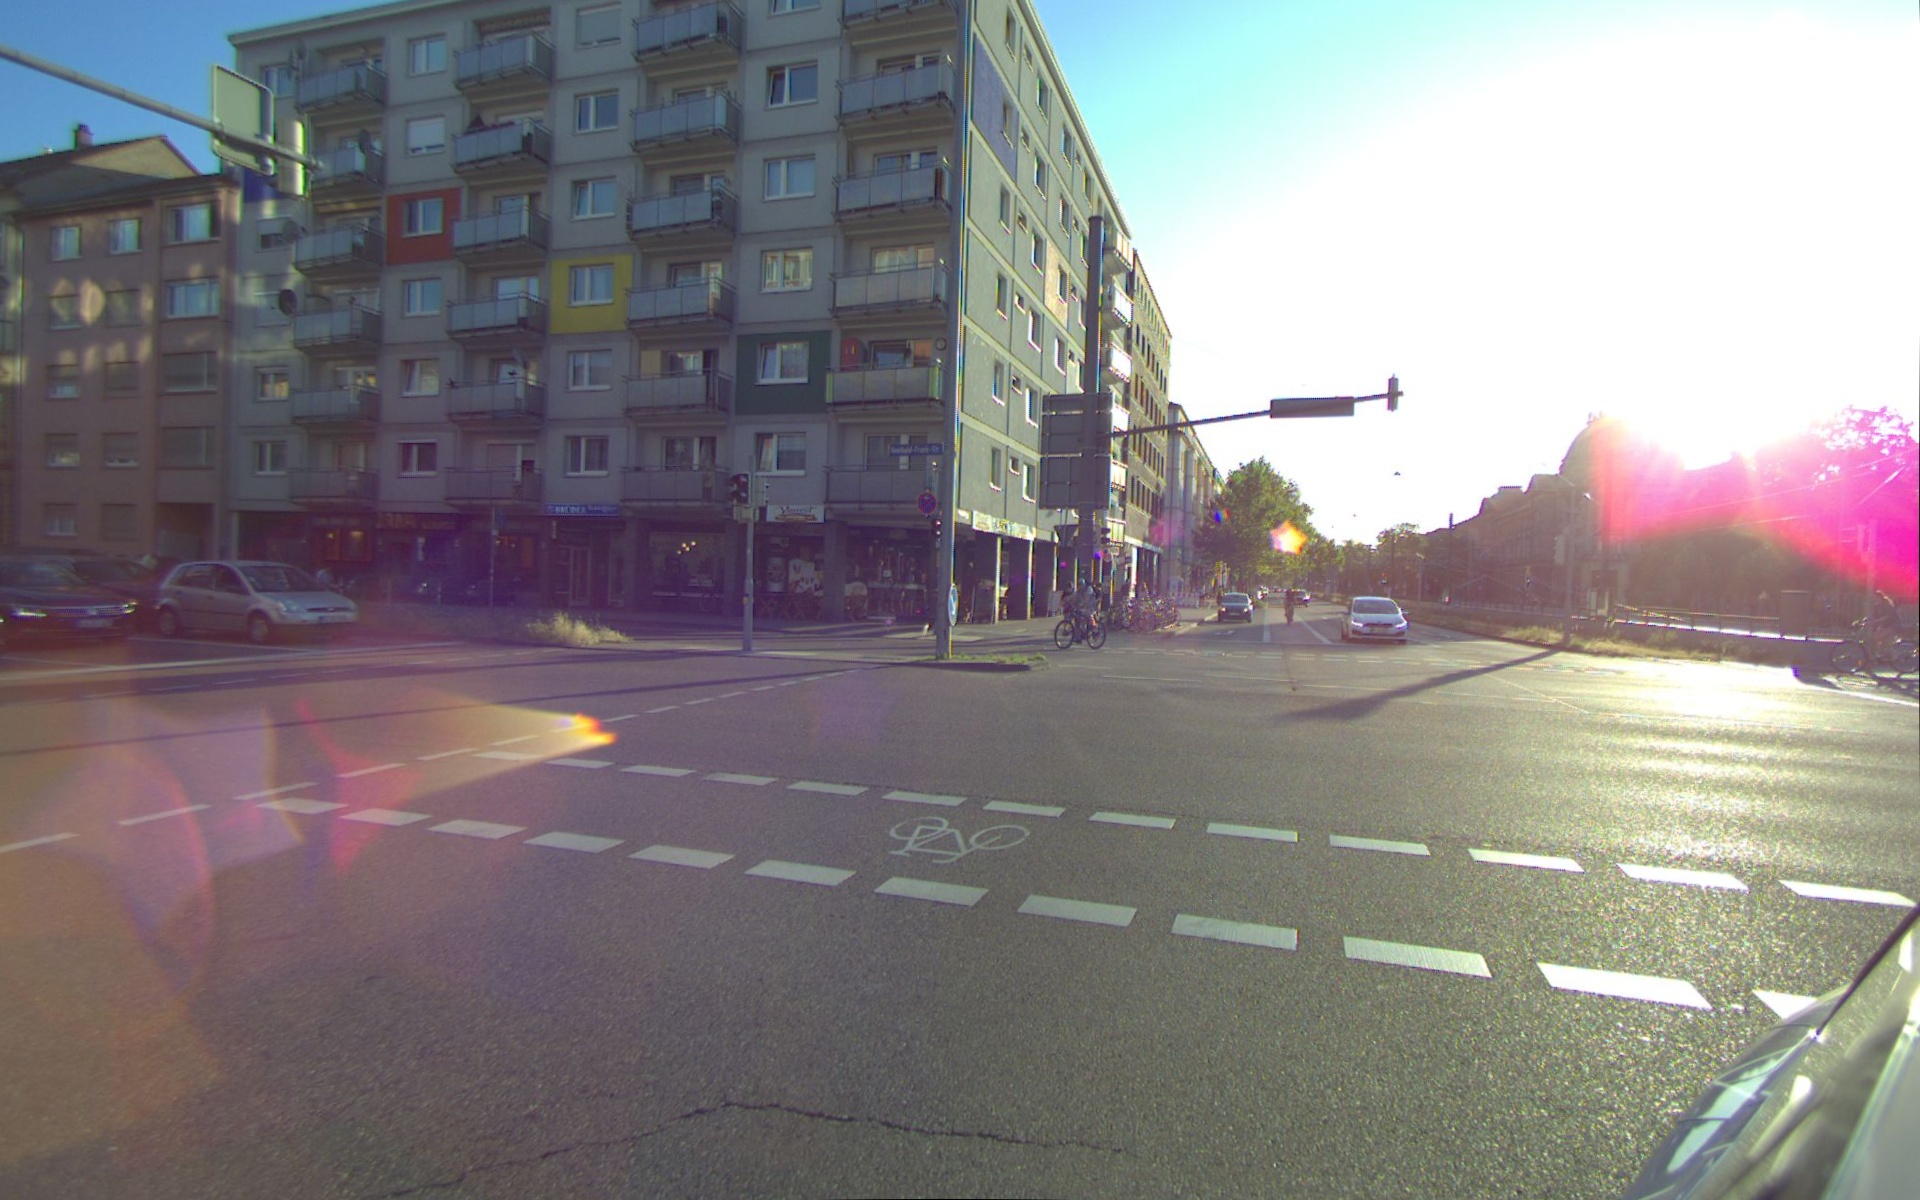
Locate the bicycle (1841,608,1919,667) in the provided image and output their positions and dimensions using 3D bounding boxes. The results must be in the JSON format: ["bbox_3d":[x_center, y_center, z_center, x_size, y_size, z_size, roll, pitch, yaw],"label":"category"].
[{"bbox_3d":[19.967,0.800,21.476,1.937,1.197,0.489,1,0,7],"label":"bicycle"}]

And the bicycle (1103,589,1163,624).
[{"bbox_3d":[5.853,0.212,34.303,1.935,1.134,0.455,1,0,22],"label":"bicycle"}]

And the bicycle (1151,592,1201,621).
[{"bbox_3d":[8.703,0.249,40.809,1.935,1.134,0.455,1,0,22],"label":"bicycle"}]

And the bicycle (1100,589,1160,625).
[{"bbox_3d":[5.671,0.215,33.805,1.935,1.134,0.455,1,0,22],"label":"bicycle"}]

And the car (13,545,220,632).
[{"bbox_3d":[-17.293,-0.269,20.724,4.138,1.541,1.645,3,1,25],"label":"car"}]

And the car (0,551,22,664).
[{"bbox_3d":[-14.565,0.064,13.252,4.146,1.443,1.916,2,3,25],"label":"car"}]

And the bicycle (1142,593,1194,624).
[{"bbox_3d":[8.049,0.313,39.174,1.935,1.134,0.455,1,0,22],"label":"bicycle"}]

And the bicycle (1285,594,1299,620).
[{"bbox_3d":[15.718,0.313,47.934,0.568,1.215,2.193,1,1,18],"label":"bicycle"}]

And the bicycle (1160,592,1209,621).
[{"bbox_3d":[9.439,0.261,42.592,1.935,1.134,0.455,1,0,22],"label":"bicycle"}]

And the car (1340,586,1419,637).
[{"bbox_3d":[13.544,0.337,32.884,1.929,1.512,3.939,1,1,16],"label":"car"}]

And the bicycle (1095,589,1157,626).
[{"bbox_3d":[5.464,0.236,33.297,1.935,1.134,0.455,1,0,22],"label":"bicycle"}]

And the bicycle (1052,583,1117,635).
[{"bbox_3d":[2.984,0.205,24.109,0.489,1.197,1.941,1,1,43],"label":"bicycle"}]

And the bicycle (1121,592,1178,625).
[{"bbox_3d":[6.754,0.286,36.047,1.935,1.134,0.455,1,0,22],"label":"bicycle"}]

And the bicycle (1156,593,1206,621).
[{"bbox_3d":[9.110,0.278,41.723,1.935,1.134,0.455,1,0,22],"label":"bicycle"}]

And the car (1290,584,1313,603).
[{"bbox_3d":[33.053,-0.662,97.914,1.975,1.772,3.973,0,0,21],"label":"car"}]

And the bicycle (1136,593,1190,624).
[{"bbox_3d":[7.705,0.320,38.475,1.935,1.134,0.455,1,0,22],"label":"bicycle"}]

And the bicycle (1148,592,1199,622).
[{"bbox_3d":[8.511,0.261,40.284,1.935,1.134,0.455,1,0,22],"label":"bicycle"}]

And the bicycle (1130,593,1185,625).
[{"bbox_3d":[7.340,0.316,37.580,1.935,1.134,0.455,1,0,22],"label":"bicycle"}]

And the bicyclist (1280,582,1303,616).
[{"bbox_3d":[15.655,-0.051,47.802,0.984,1.557,0.917,1,0,19],"label":"bicyclist"}]

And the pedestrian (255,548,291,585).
[{"bbox_3d":[-25.138,-1.208,37.019,1.045,1.313,0.890,2,1,45],"label":"pedestrian"}]

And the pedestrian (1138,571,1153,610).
[{"bbox_3d":[9.947,-0.506,54.260,0.647,2.039,0.747,1,0,19],"label":"pedestrian"}]

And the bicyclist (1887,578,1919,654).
[{"bbox_3d":[20.356,0.340,21.410,0.721,1.587,0.821,1,0,7],"label":"bicyclist"}]

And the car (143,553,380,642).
[{"bbox_3d":[-13.043,-0.089,18.893,3.970,1.487,1.903,1,1,25],"label":"car"}]

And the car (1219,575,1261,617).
[{"bbox_3d":[14.323,-0.235,51.945,1.971,2.039,3.982,1,1,14],"label":"car"}]

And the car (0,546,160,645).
[{"bbox_3d":[-15.856,-0.125,17.124,4.198,1.487,1.983,1,1,25],"label":"car"}]

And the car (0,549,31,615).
[{"bbox_3d":[-24.148,-0.474,23.655,4.482,1.514,1.695,2,1,20],"label":"car"}]

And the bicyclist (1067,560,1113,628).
[{"bbox_3d":[3.115,-0.143,24.275,0.722,1.587,0.821,1,1,-44],"label":"bicyclist"}]

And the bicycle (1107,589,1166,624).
[{"bbox_3d":[6.062,0.216,34.801,1.935,1.134,0.455,1,0,22],"label":"bicycle"}]

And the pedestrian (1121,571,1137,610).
[{"bbox_3d":[9.122,-0.523,54.547,0.709,2.039,0.642,2,1,19],"label":"pedestrian"}]

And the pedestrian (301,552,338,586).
[{"bbox_3d":[-22.741,-1.092,35.914,1.045,1.181,0.890,2,1,45],"label":"pedestrian"}]
